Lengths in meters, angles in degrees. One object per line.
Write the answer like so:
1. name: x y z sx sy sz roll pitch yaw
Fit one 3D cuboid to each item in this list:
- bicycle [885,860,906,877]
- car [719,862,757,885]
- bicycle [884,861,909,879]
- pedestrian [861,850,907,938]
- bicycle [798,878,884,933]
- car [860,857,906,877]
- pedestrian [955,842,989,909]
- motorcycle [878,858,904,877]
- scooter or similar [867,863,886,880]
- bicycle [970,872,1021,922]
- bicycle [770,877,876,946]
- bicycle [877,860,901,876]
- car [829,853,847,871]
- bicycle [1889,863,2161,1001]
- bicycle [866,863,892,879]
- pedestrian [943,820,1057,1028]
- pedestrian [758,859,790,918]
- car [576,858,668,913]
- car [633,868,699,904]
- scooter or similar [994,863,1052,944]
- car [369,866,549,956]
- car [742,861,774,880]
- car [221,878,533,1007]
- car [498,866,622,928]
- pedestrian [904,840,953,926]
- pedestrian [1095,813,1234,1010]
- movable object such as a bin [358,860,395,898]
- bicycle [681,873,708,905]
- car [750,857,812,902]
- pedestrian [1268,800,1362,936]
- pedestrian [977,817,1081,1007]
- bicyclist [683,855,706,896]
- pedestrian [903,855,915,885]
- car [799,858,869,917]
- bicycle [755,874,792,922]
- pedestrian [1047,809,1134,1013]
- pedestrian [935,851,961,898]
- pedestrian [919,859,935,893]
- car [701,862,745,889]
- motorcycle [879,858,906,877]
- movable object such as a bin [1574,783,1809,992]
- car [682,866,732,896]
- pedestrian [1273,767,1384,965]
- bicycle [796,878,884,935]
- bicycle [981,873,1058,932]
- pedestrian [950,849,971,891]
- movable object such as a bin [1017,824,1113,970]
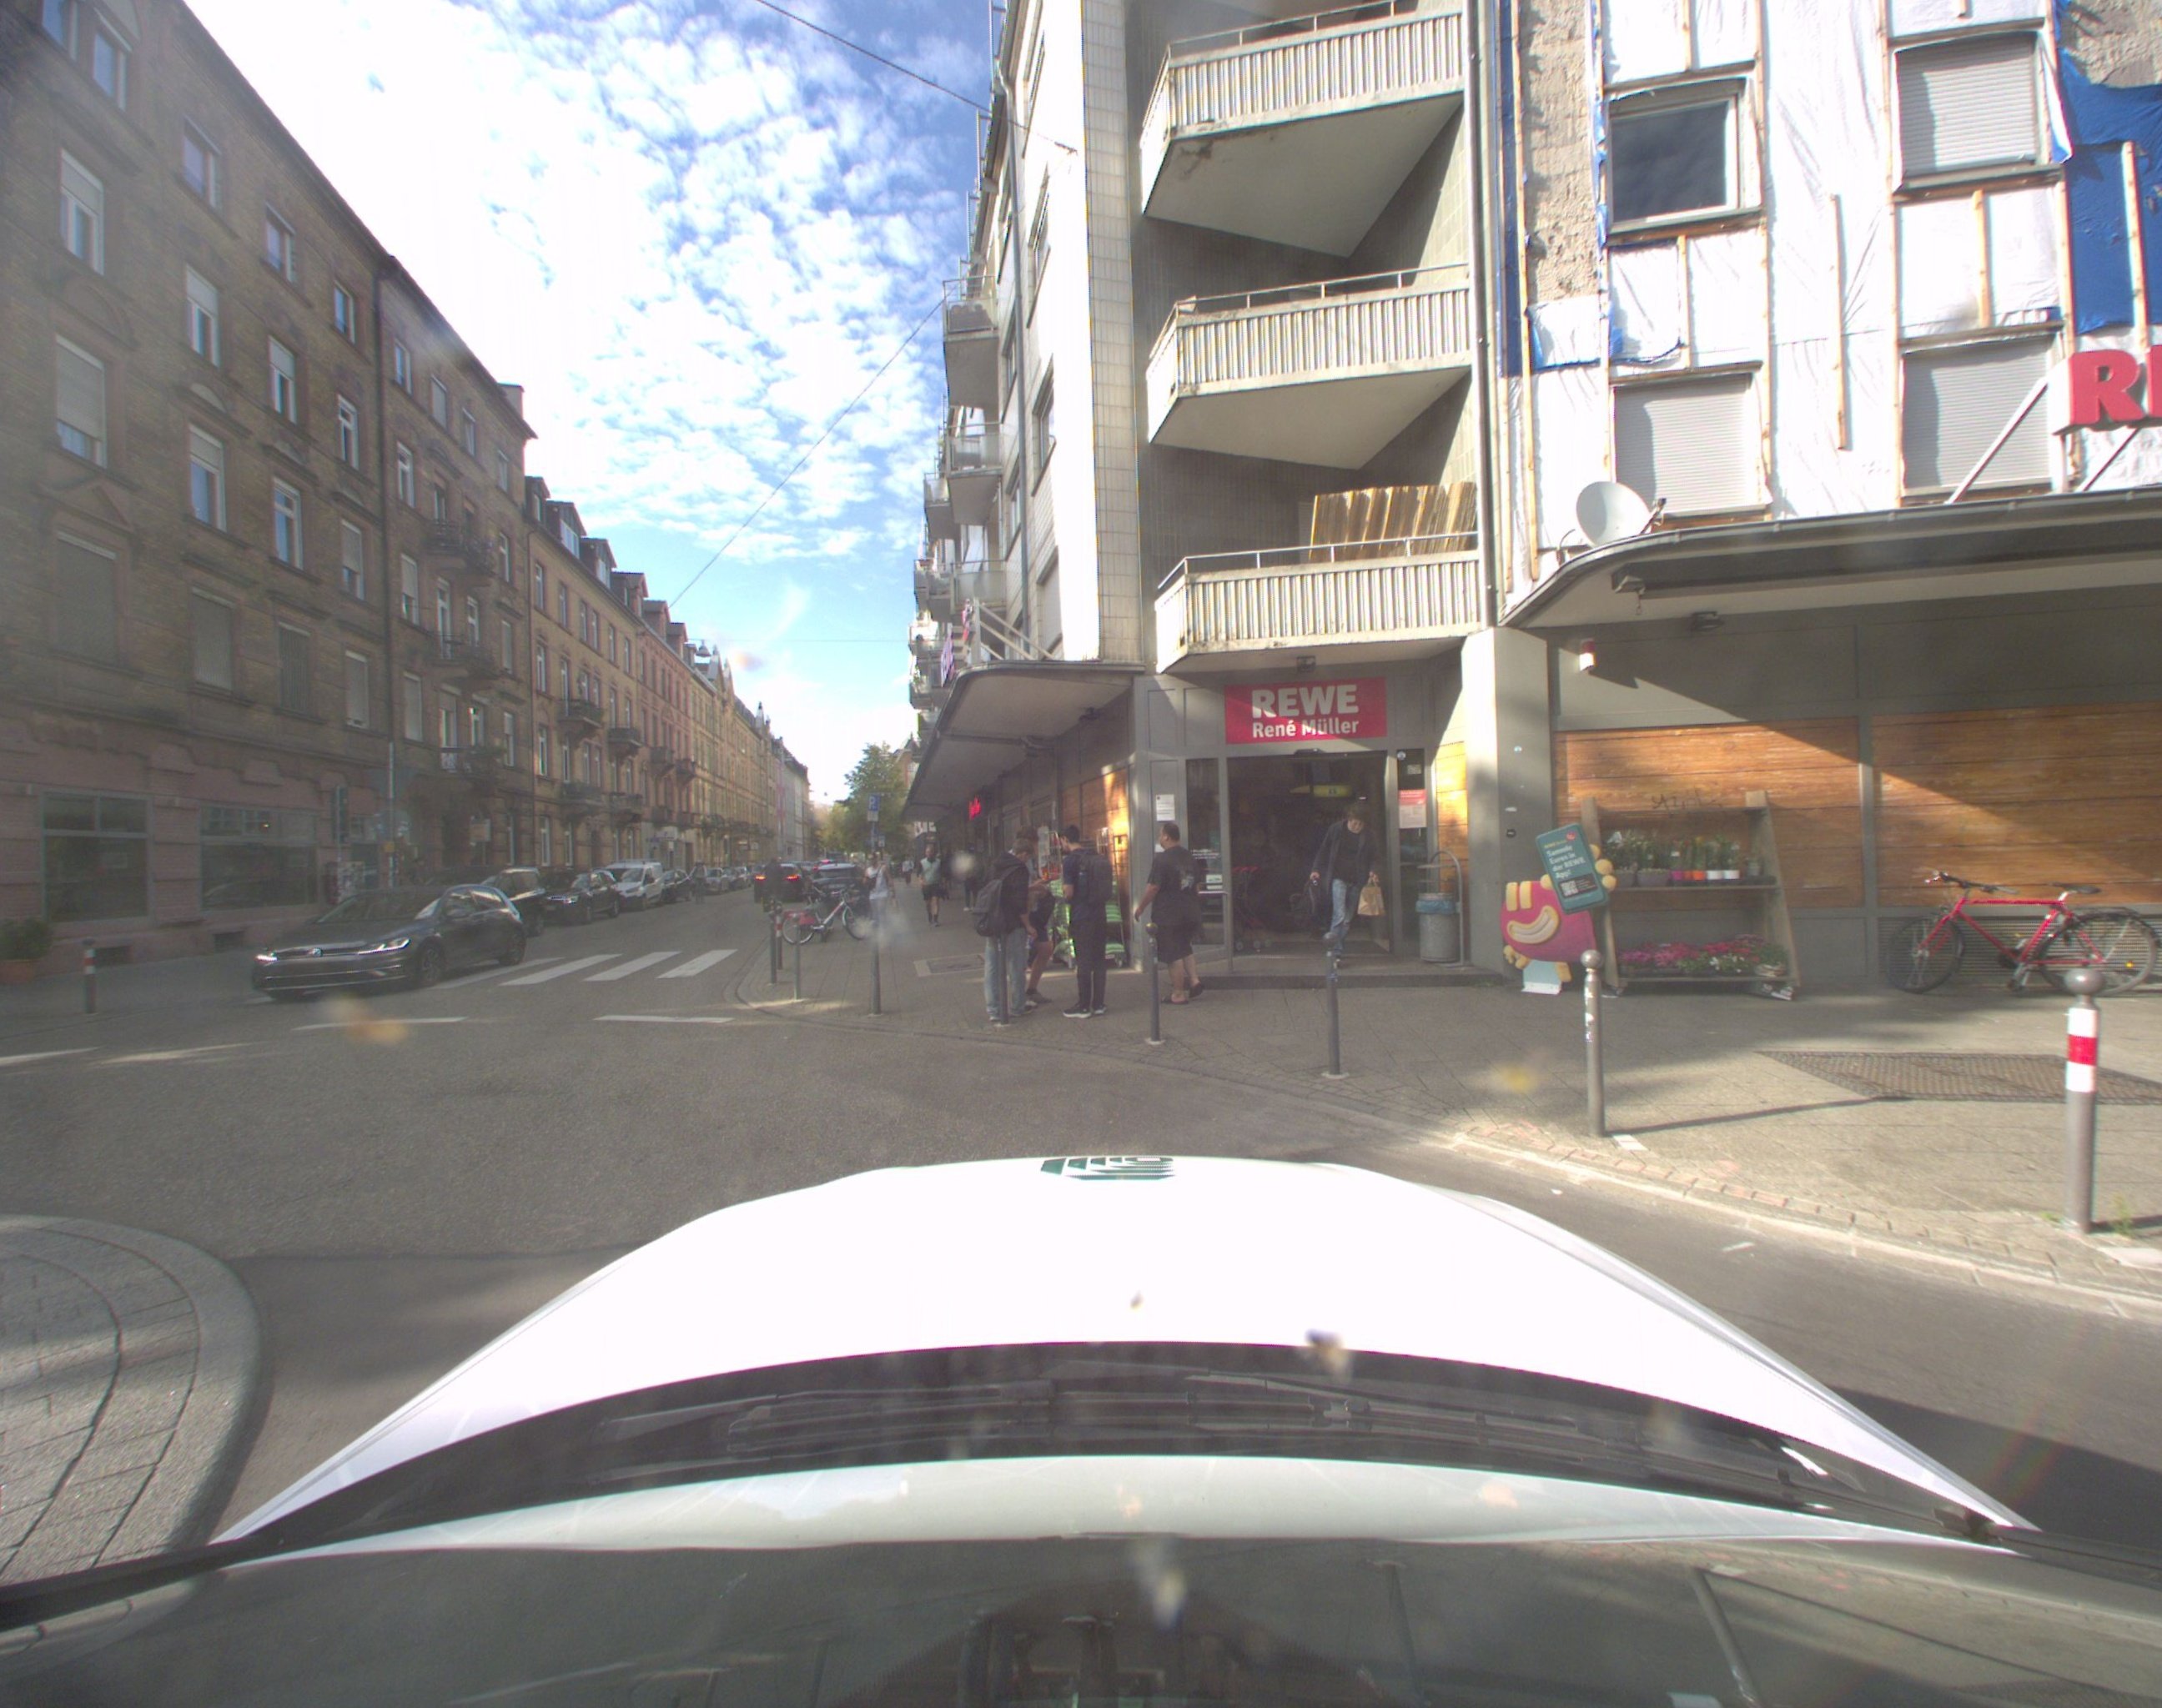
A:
1. bicycle: -14.191 1.117 62.162 1.497 1.146 0.409 -4 1 -14
2. car: -22.694 1.285 54.010 1.692 1.386 3.850 0 0 -13
3. bicycle: -13.668 1.172 60.416 1.767 1.162 0.647 -4 1 -12
4. pedestrian: -3.964 0.781 16.343 0.803 1.671 1.017 -2 -2 -16
5. bicycle: -5.561 1.172 18.908 1.796 1.070 0.582 -4 1 -24
6. car: -18.016 1.199 74.101 3.778 1.546 1.717 -4 0 -24
7. pedestrian: -3.008 0.578 22.504 0.715 1.746 0.812 -4 1 -16
8. motorcycle: -16.839 1.155 72.263 2.150 1.530 0.684 -4 1 -10
9. scooter or similar: -15.004 1.267 59.720 1.196 1.147 0.380 -4 2 17
10. bicycle: -1.971 0.948 18.598 0.744 1.015 1.772 -4 1 -19
11. bicycle: -5.085 1.109 16.160 1.887 1.125 0.902 -4 1 -16
12. bicycle: -15.647 1.154 66.471 1.782 1.159 0.502 -3 1 12
13. car: -27.291 0.885 91.494 1.785 2.020 3.868 0 0 -15
14. bicycle: 7.854 0.621 6.757 1.517 1.032 0.586 -2 2 20
15. bicycle: -15.002 1.281 60.490 1.771 1.056 0.409 -4 1 -19
16. pedestrian: -0.734 0.616 7.559 0.624 1.797 0.719 -3 2 27
17. pedestrian: -8.849 0.973 23.491 0.719 1.650 0.926 0 0 -13
18. car: -17.288 1.121 30.891 1.923 1.871 4.414 -1 0 -15
19. car: -18.334 1.361 36.141 1.744 1.483 3.963 0 -1 -15
20. scooter or similar: -0.977 0.786 13.519 0.633 1.212 1.249 -4 1 -16
21. car: -14.255 1.196 19.009 1.763 1.773 4.383 -1 0 -15
22. car: -24.597 1.224 62.128 1.692 1.386 3.850 0 0 -13
23. car: -10.050 1.140 12.100 1.794 1.438 3.982 -3 -1 -13
24. car: -15.811 1.223 24.966 1.997 1.638 4.124 -1 0 -15
25. pedestrian: -3.454 0.638 18.519 0.883 1.834 1.045 -4 0 -6
26. pedestrian: 0.797 0.518 8.009 0.853 1.746 1.040 -4 1 -24
27. movable object such as a bin: -13.397 0.467 15.494 0.384 0.714 0.473 0 0 -18
28. bicycle: -16.102 1.434 33.946 0.702 1.220 2.105 -1 0 -17
29. car: -12.746 1.037 34.830 1.967 1.740 4.022 -1 0 -13
30. pedestrian: 3.167 0.172 11.064 0.929 1.753 0.761 -2 0 -16
31. pedestrian: -0.502 0.559 8.098 0.706 1.797 0.635 -4 2 19
32. bicyclist: -16.156 0.880 34.088 0.702 1.677 1.106 -1 0 -17
33. pedestrian: -9.980 0.910 47.185 0.612 1.726 1.121 -2 1 -13
34. car: -7.912 0.997 26.359 1.795 1.605 3.906 -4 1 -13
35. bicycle: -8.831 1.246 23.436 0.719 1.274 1.875 0 0 -13
36. pedestrian: 0.084 0.507 7.689 0.651 1.797 0.658 -4 2 -1
37. pedestrian: -4.676 0.712 28.605 0.824 1.588 0.777 -2 0 -12
38. pedestrian: -7.330 1.031 38.807 0.644 1.588 0.777 -4 0 -12
39. car: -21.886 1.288 49.942 1.743 1.483 3.966 0 0 -13
40. motorcycle: -16.037 1.141 69.339 2.150 1.434 0.763 -4 1 -10
41. movable object such as a bin: 5.422 0.292 7.310 1.535 1.754 0.692 -2 2 8
42. car: -20.676 1.448 45.195 1.743 1.483 3.966 0 0 -13
43. pedestrian: 2.681 0.126 8.820 1.022 2.013 0.868 -2 2 18
44. bicycle: -5.412 1.157 18.295 1.796 1.070 0.564 -4 1 -24
45. bicycle: -1.202 0.916 15.635 0.681 1.043 1.716 -2 -1 -33
46. pedestrian: -5.495 0.715 37.058 0.702 1.860 0.647 -2 0 15
47. movable object such as a bin: -0.282 0.523 11.092 0.780 1.744 2.412 -2 0 -13
